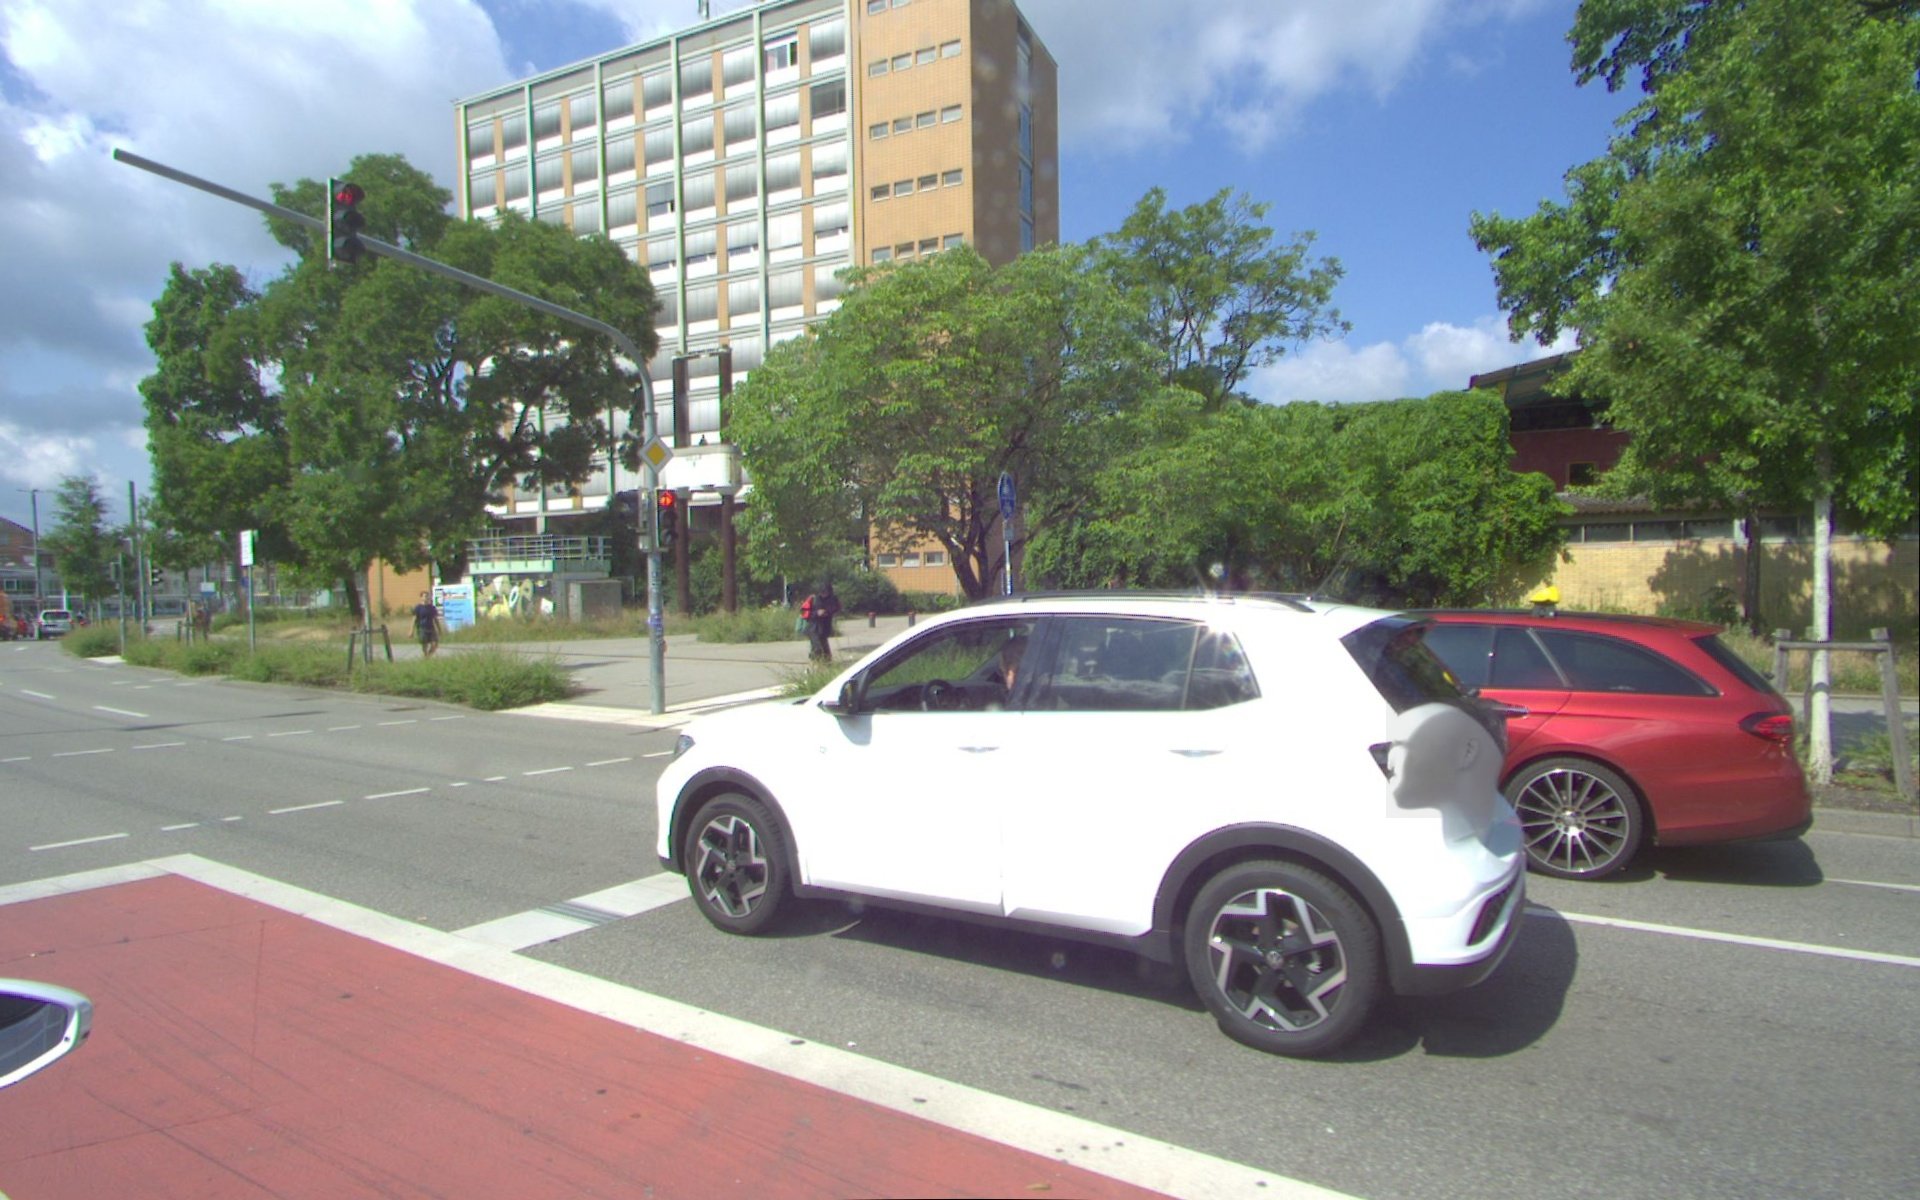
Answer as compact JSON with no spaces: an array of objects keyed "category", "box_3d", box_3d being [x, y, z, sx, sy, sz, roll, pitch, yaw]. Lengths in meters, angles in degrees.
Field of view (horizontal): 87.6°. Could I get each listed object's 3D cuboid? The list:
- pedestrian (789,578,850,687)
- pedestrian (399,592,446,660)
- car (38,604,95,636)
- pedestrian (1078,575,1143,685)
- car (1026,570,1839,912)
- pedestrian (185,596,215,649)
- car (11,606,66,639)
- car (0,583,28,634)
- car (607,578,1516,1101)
[{"category":"pedestrian","box_3d":[-2.337,0.520,16.664,0.669,1.759,0.740,0,1,34]},{"category":"pedestrian","box_3d":[-12.369,0.593,23.055,0.544,1.528,0.767,0,1,35]},{"category":"car","box_3d":[-54.289,1.163,60.885,1.973,1.819,3.974,-2,1,-34]},{"category":"pedestrian","box_3d":[2.357,0.454,15.640,0.710,1.660,0.866,0,1,32]},{"category":"car","box_3d":[2.779,0.693,6.703,4.396,1.663,1.678,0,0,31]},{"category":"pedestrian","box_3d":[-25.741,0.758,33.930,0.570,1.757,0.657,0,2,38]},{"category":"car","box_3d":[-59.847,1.412,65.102,1.972,1.965,4.606,-2,1,-35]},{"category":"car","box_3d":[-55.406,0.499,57.456,2.109,2.818,4.606,-2,1,-35]},{"category":"car","box_3d":[0.373,0.739,4.778,3.952,1.559,1.788,0,-1,31]}]
